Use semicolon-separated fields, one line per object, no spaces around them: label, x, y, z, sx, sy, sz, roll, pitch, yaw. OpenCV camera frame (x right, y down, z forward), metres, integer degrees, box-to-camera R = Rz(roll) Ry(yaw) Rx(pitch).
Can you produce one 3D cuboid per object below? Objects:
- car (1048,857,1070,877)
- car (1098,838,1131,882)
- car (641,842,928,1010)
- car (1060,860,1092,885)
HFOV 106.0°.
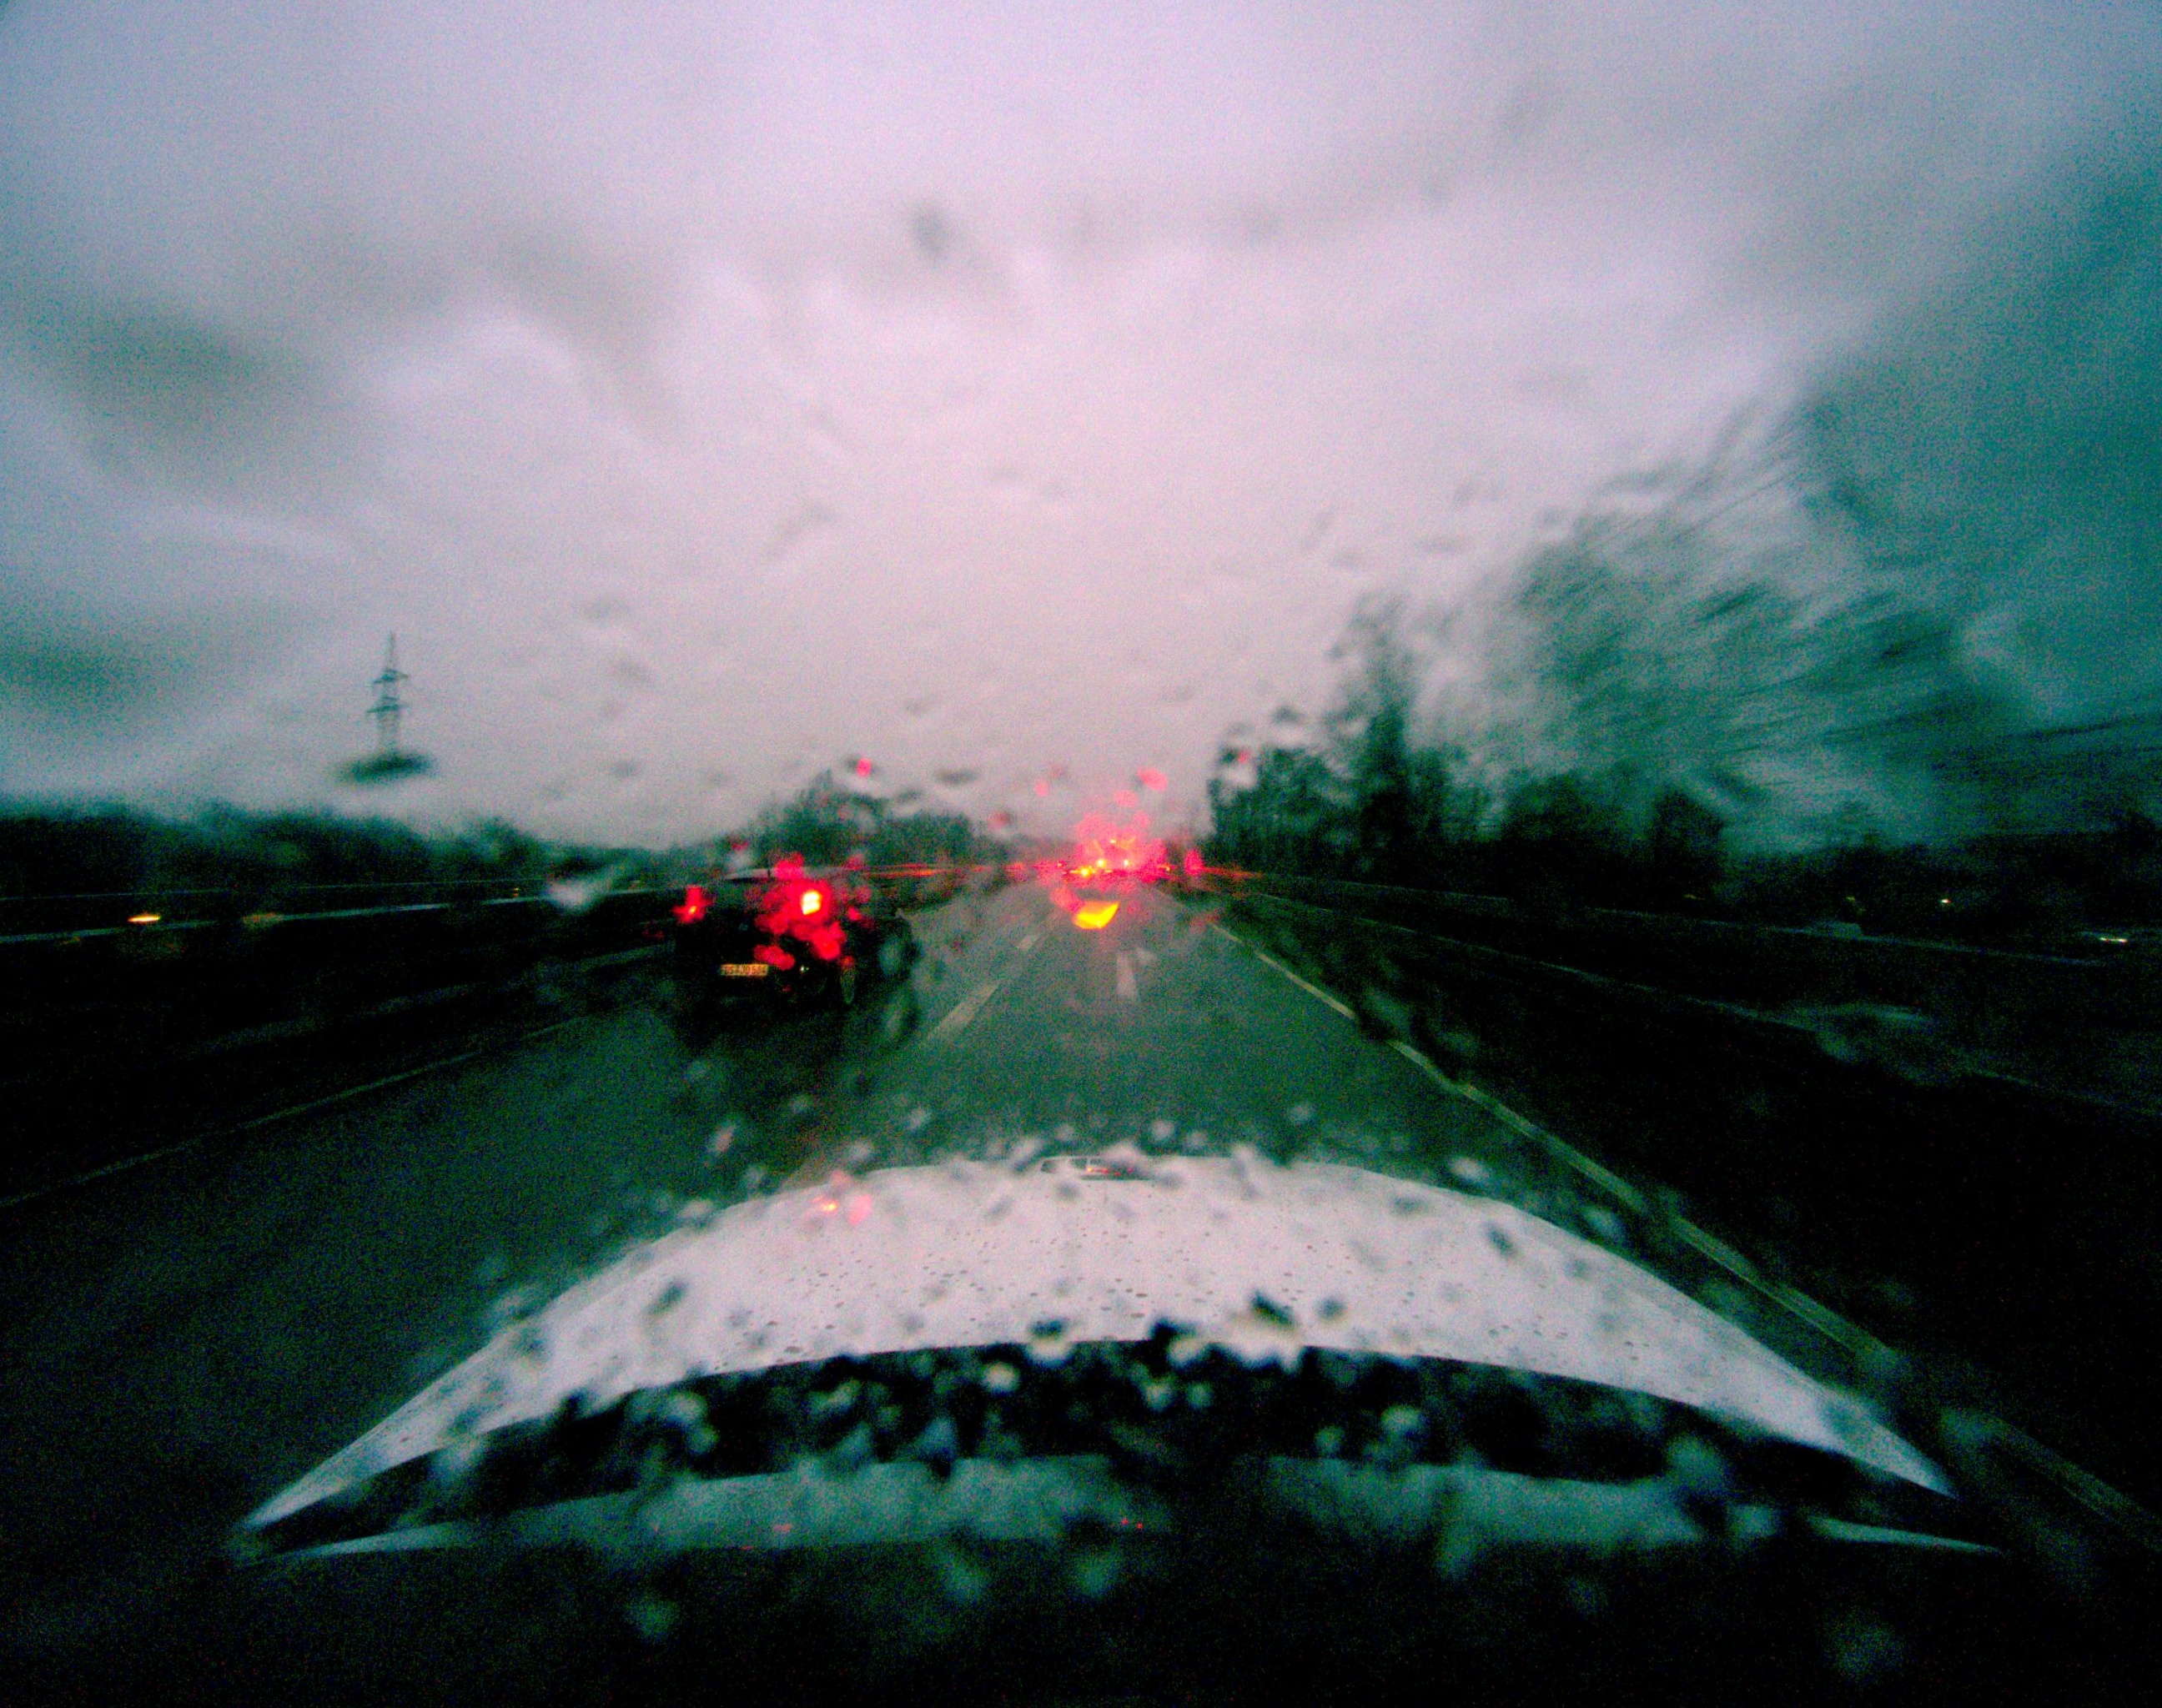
car;-2.134;1.275;80.388;1.987;1.815;3.999;2;-1;0
car;2.429;0.526;60.255;2.273;2.966;6.391;-1;-2;2
car;-3.136;0.763;9.598;1.723;1.533;4.044;-1;-3;3
car;-0.286;1.178;51.736;1.729;1.415;4.380;2;-1;3
